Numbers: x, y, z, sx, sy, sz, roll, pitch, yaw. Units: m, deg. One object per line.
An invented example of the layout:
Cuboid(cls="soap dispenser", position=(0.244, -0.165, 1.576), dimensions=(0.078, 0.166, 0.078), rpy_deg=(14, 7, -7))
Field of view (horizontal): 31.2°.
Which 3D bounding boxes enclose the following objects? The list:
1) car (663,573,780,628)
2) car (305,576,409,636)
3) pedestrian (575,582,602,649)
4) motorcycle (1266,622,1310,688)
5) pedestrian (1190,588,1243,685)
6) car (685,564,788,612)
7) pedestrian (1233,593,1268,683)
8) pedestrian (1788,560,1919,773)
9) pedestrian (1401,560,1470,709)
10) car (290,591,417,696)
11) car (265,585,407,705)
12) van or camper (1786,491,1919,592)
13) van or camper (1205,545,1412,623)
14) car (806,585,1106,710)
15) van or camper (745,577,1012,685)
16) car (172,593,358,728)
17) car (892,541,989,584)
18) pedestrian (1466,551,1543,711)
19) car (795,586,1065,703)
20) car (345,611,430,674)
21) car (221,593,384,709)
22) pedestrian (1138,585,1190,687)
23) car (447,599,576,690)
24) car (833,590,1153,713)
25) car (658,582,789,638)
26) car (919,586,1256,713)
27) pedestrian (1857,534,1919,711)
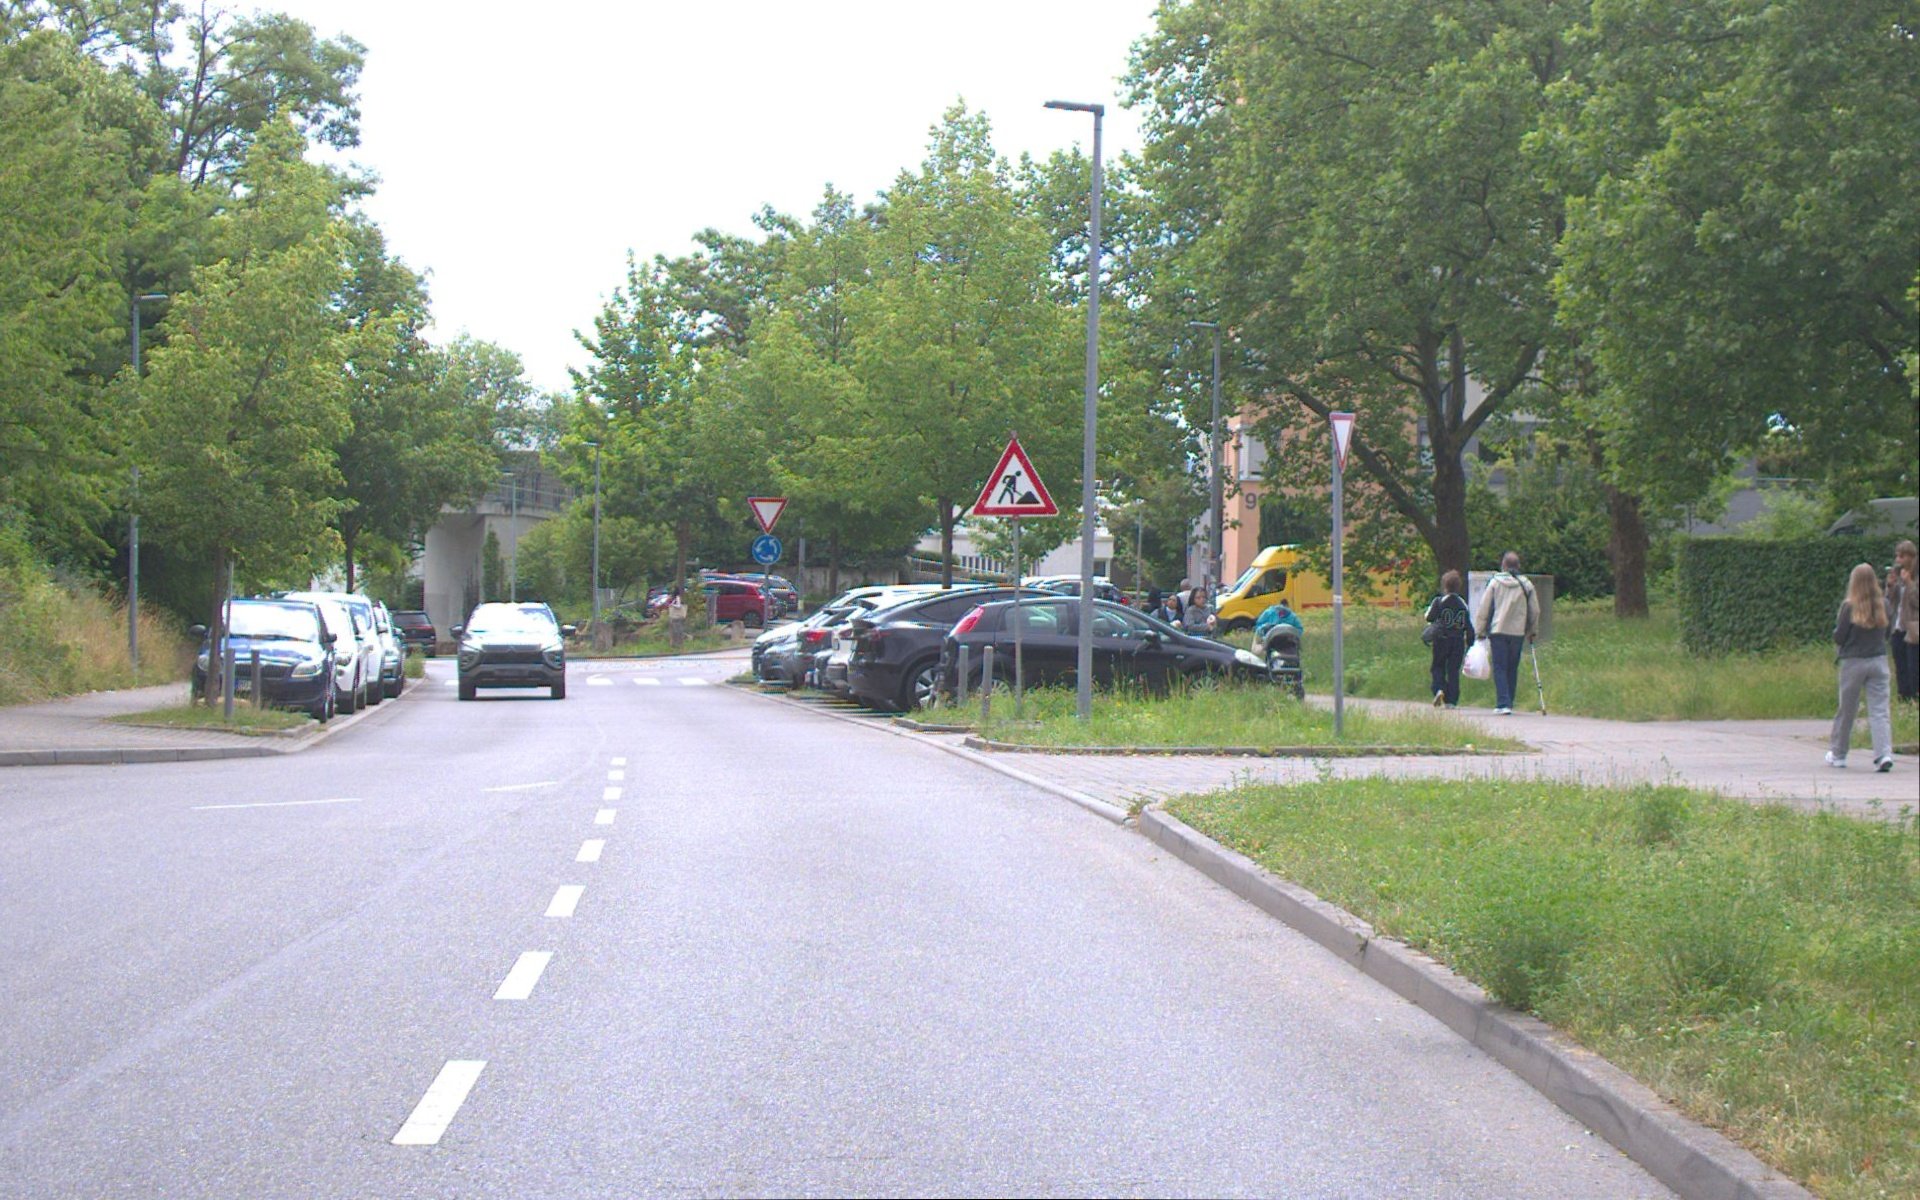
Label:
Cuboid(cls="car", position=(-7.545, 0.002, 108.812), dimensions=(3.539, 1.648, 1.622), rpy_deg=(1, 1, -8))
Cuboid(cls="car", position=(-14.262, 0.136, 81.224), dimensions=(1.200, 1.332, 2.605), rpy_deg=(1, 1, -42))
Cuboid(cls="pedestrian", position=(-10.604, 0.441, 98.120), dimensions=(0.721, 1.858, 0.651), rpy_deg=(0, 2, -12))
Cuboid(cls="motorcycle", position=(4.262, 0.710, 44.710), dimensions=(0.453, 0.791, 1.263), rpy_deg=(0, 3, 0))
Cuboid(cls="pedestrian", position=(3.847, 0.548, 51.543), dimensions=(0.690, 1.419, 0.753), rpy_deg=(1, 1, -1))
Cuboid(cls="car", position=(-8.037, -0.446, 123.871), dimensions=(3.540, 1.648, 1.621), rpy_deg=(1, 1, 2))
Cuboid(cls="pedestrian", position=(3.810, 0.500, 45.101), dimensions=(0.395, 1.148, 0.485), rpy_deg=(1, 2, -1))
Cuboid(cls="pedestrian", position=(7.029, 0.503, 26.774), dimensions=(0.774, 1.590, 0.823), rpy_deg=(-1, 3, -22))
Cuboid(cls="pedestrian", position=(5.675, 0.403, 41.050), dimensions=(0.774, 1.716, 0.823), rpy_deg=(1, 2, 8))
Cuboid(cls="car", position=(-10.368, 0.709, 59.006), dimensions=(1.737, 1.705, 4.082), rpy_deg=(0, 1, -4))
Cuboid(cls="car", position=(-9.644, 0.665, 53.383), dimensions=(1.765, 1.747, 3.935), rpy_deg=(0, 1, -4))
Cuboid(cls="van or camper", position=(18.671, -1.139, 66.978), dimensions=(4.680, 1.907, 1.769), rpy_deg=(2, 3, 29))
Cuboid(cls="van or camper", position=(9.466, -0.454, 93.549), dimensions=(5.291, 2.034, 2.061), rpy_deg=(0, 2, -5))
Cuboid(cls="car", position=(-0.059, 0.645, 45.843), dimensions=(3.921, 1.625, 1.771), rpy_deg=(0, -2, -1))
Cuboid(cls="van or camper", position=(-1.506, 0.543, 62.370), dimensions=(4.671, 1.863, 1.772), rpy_deg=(0, 2, -8))
Cuboid(cls="car", position=(-8.547, 0.708, 42.548), dimensions=(1.765, 1.495, 3.936), rpy_deg=(0, 2, -4))
Cuboid(cls="car", position=(-0.806, -1.502, 138.609), dimensions=(3.539, 1.648, 1.622), rpy_deg=(1, 1, -20))
Cuboid(cls="pedestrian", position=(6.053, 0.336, 38.226), dimensions=(0.801, 1.716, 0.823), rpy_deg=(1, 2, 9))
Cuboid(cls="car", position=(-0.449, 0.646, 50.948), dimensions=(3.921, 1.624, 1.772), rpy_deg=(0, 2, -1))
Cuboid(cls="car", position=(-12.742, 0.923, 76.701), dimensions=(1.737, 1.321, 3.816), rpy_deg=(0, 1, -7))
Cuboid(cls="car", position=(-9.060, 0.677, 47.630), dimensions=(1.765, 1.495, 3.935), rpy_deg=(0, 1, -4))
Cuboid(cls="pedestrian", position=(3.059, 0.534, 51.515), dimensions=(0.690, 1.499, 0.753), rpy_deg=(1, 1, -1))
Cuboid(cls="car", position=(-7.628, 0.732, 58.786), dimensions=(1.974, 1.458, 3.935), rpy_deg=(0, 1, -4))
Cuboid(cls="car", position=(0.392, 0.655, 43.119), dimensions=(3.921, 1.495, 1.771), rpy_deg=(0, -2, -1))
Cuboid(cls="car", position=(-7.030, 0.306, 102.064), dimensions=(3.539, 1.558, 1.622), rpy_deg=(1, 1, -20))
Cuboid(cls="car", position=(1.476, 0.599, 40.895), dimensions=(3.921, 1.463, 1.771), rpy_deg=(0, -2, -1))
Cuboid(cls="pedestrian", position=(9.359, 0.213, 33.873), dimensions=(0.776, 1.688, 0.822), rpy_deg=(2, 3, 29))
